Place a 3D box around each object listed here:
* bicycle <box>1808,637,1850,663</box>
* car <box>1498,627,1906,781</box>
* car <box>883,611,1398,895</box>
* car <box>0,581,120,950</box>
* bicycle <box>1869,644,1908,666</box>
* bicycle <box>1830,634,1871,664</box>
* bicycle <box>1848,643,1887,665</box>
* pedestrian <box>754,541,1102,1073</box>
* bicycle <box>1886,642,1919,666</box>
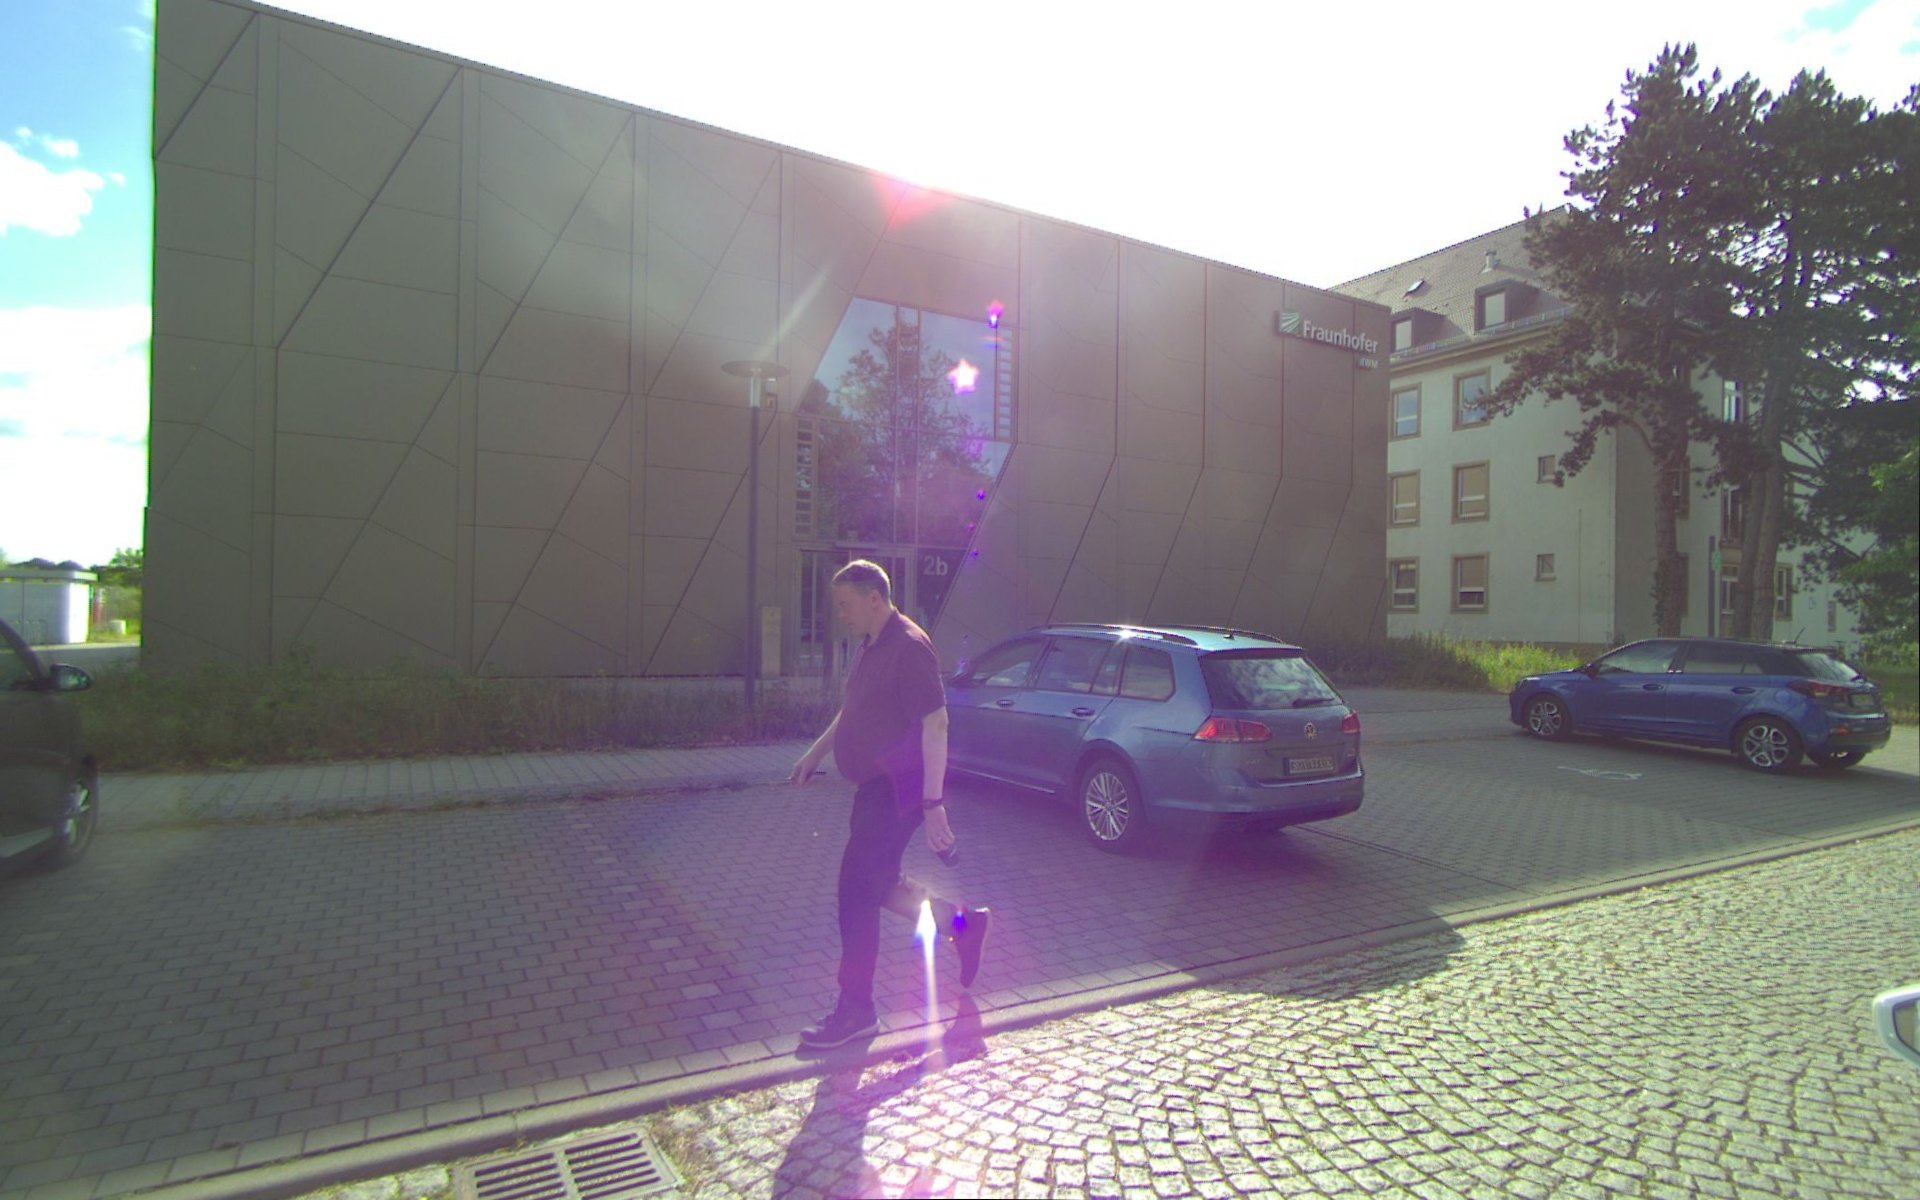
[{"bbox_3d":[44.304,2.547,51.204,2.524,1.298,0.822,2,-1,-30],"label":"bicycle"},{"bbox_3d":[9.208,1.179,12.818,1.698,1.483,3.820,2,0,-28],"label":"car"},{"bbox_3d":[1.083,0.905,8.003,1.662,1.484,4.233,0,1,-31],"label":"car"},{"bbox_3d":[-5.100,0.688,4.549,1.501,1.563,2.686,2,0,-30],"label":"car"},{"bbox_3d":[45.431,2.692,49.153,2.099,1.061,0.822,2,-1,-30],"label":"bicycle"},{"bbox_3d":[44.934,2.471,50.679,2.524,1.456,0.822,2,-1,-30],"label":"bicycle"},{"bbox_3d":[45.019,2.681,49.815,2.099,1.061,0.822,2,-1,-30],"label":"bicycle"},{"bbox_3d":[-0.128,0.717,4.058,1.141,1.795,0.799,2,-1,-34],"label":"pedestrian"},{"bbox_3d":[45.064,2.542,47.261,0.819,1.123,2.105,2,-2,-32],"label":"bicycle"}]
